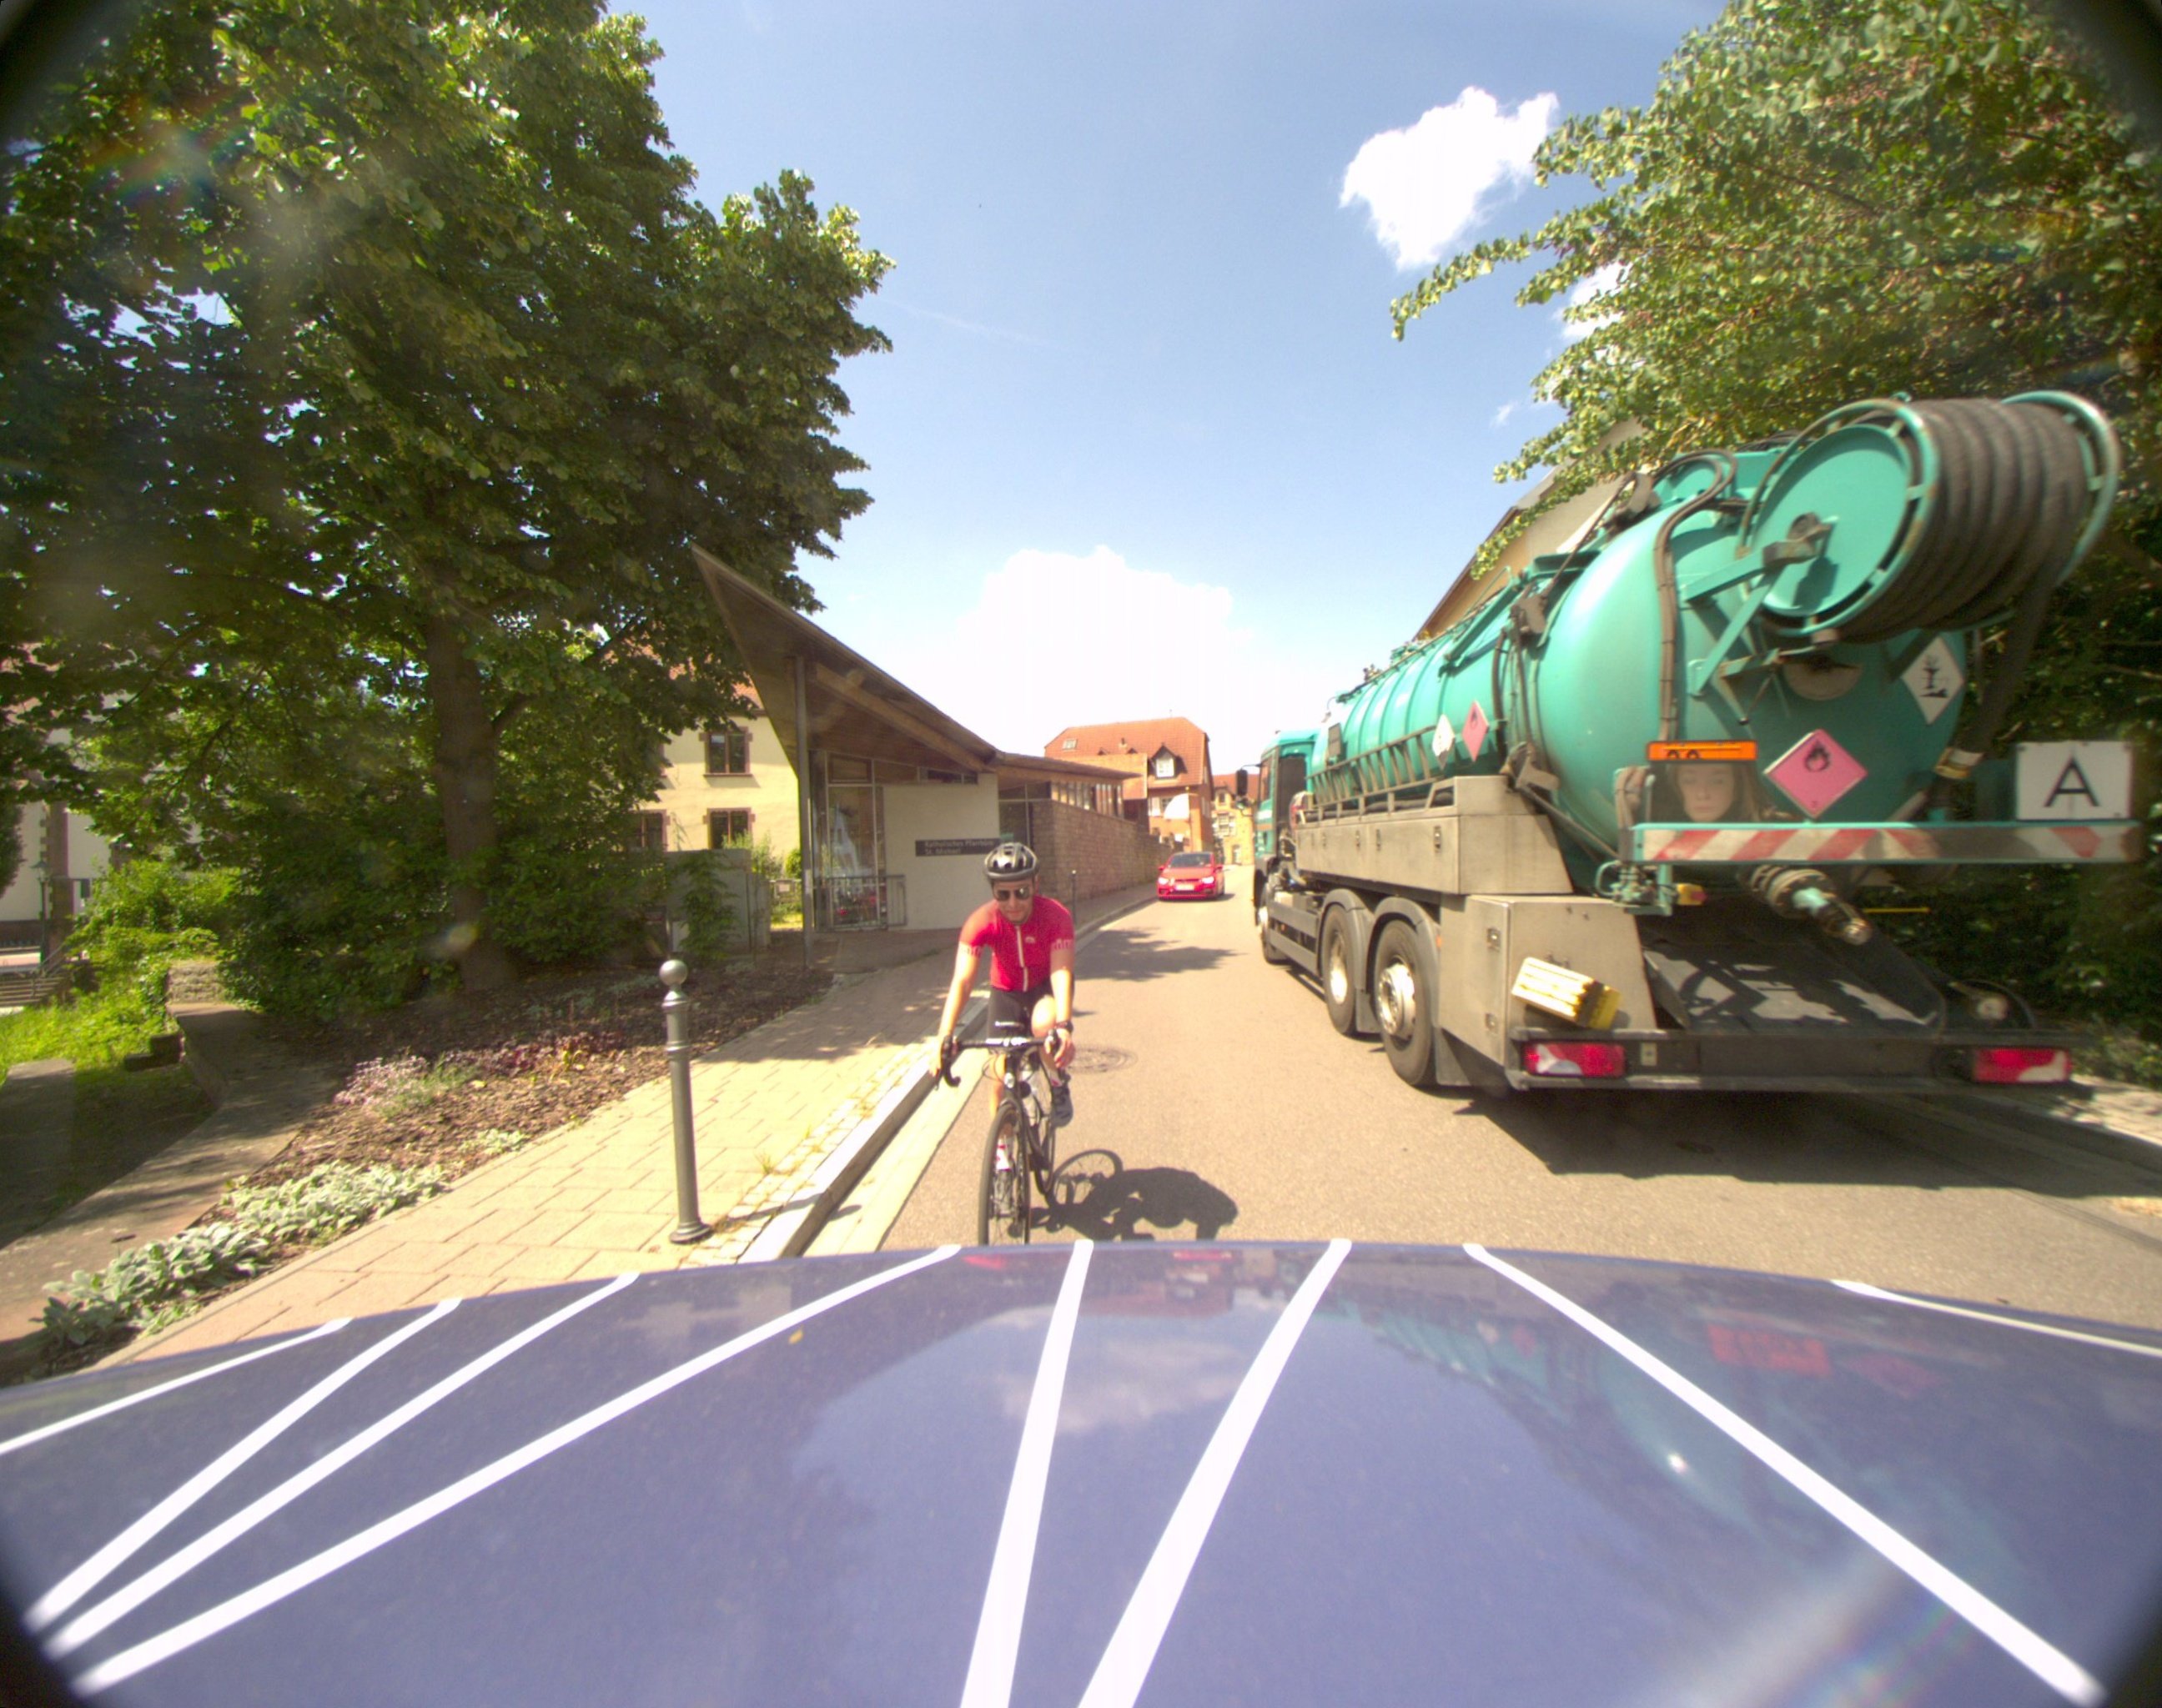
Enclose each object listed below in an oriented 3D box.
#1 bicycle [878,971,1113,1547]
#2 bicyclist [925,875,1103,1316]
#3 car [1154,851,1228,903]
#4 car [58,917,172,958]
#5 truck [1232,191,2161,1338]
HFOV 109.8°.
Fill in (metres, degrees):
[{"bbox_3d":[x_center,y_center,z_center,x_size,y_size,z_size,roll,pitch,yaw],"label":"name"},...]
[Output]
[{"bbox_3d":[-0.243,1.133,2.862,0.531,1.070,2.054,-2,-1,-2],"label":"bicycle"},{"bbox_3d":[-0.230,0.789,2.841,0.532,1.396,0.755,-2,0,-2],"label":"bicyclist"},{"bbox_3d":[3.330,0.646,22.534,1.667,1.344,3.498,-2,1,16],"label":"car"},{"bbox_3d":[-44.338,3.792,35.006,1.672,1.495,3.804,-3,-1,-26],"label":"car"},{"bbox_3d":[3.270,-0.288,7.222,2.417,3.637,9.569,-1,0,4],"label":"truck"}]
